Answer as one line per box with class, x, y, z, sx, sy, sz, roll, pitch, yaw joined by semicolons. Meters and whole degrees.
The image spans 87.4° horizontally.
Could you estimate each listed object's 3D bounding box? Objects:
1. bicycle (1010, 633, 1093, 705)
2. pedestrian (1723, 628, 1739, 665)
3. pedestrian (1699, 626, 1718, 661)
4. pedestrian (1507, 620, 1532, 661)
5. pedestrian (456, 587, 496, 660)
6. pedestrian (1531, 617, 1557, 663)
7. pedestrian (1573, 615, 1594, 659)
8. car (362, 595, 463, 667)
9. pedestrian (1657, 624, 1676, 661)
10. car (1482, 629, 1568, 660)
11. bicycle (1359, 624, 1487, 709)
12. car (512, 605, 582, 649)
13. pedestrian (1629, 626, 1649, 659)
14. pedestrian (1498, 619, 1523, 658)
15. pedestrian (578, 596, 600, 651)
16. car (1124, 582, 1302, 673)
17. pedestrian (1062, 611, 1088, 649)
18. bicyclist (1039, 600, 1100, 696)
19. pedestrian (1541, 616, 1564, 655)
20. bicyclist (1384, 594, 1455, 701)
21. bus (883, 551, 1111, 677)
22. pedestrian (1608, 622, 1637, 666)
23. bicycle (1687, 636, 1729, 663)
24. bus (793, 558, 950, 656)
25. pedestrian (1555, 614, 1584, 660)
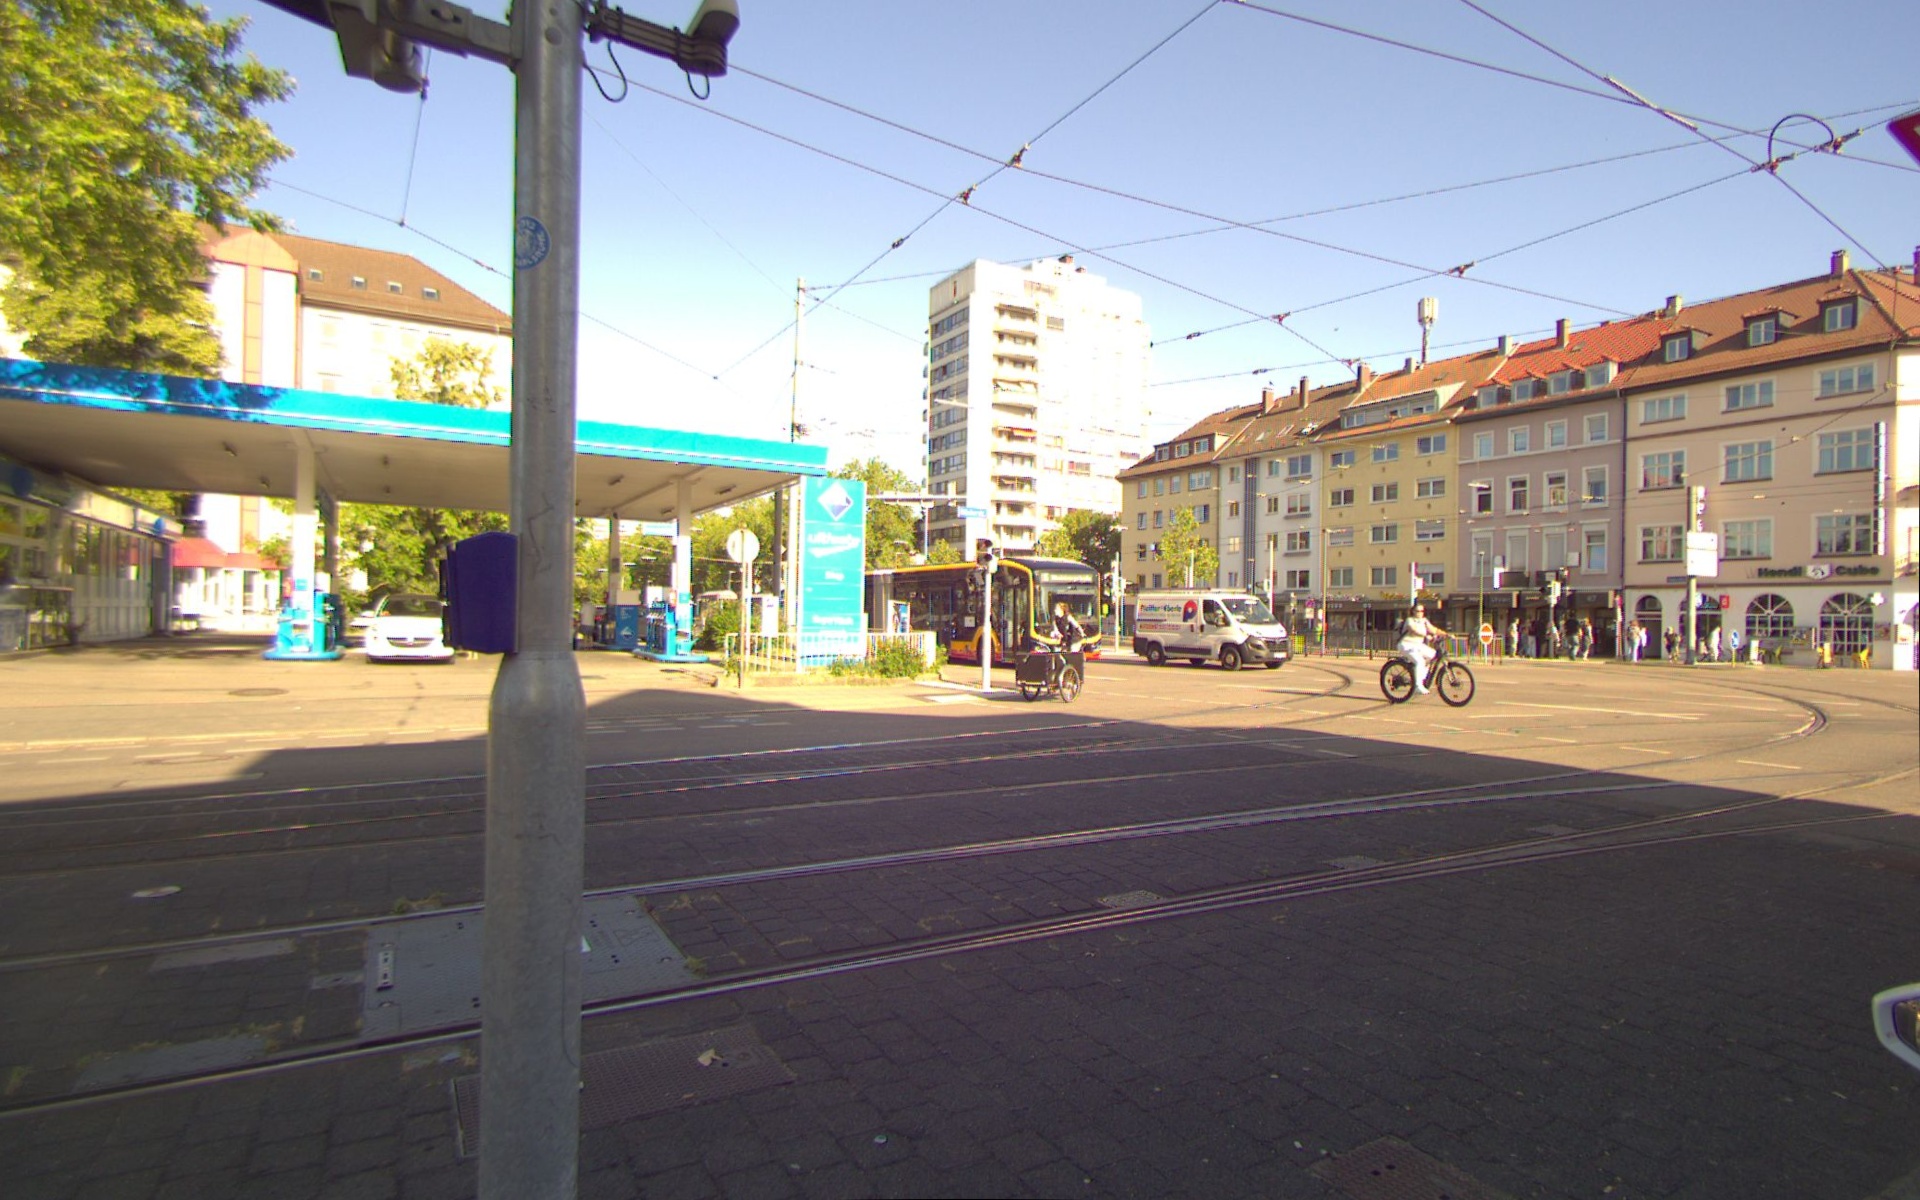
bicycle;1.661;1.173;17.710;1.039;1.116;2.521;1;-1;15
pedestrian;26.959;1.632;35.120;0.447;1.270;0.361;1;-1;-41
pedestrian;36.542;2.111;49.062;0.731;1.704;0.626;0;-1;35
pedestrian;23.497;1.693;42.184;0.565;1.657;0.737;1;-1;-30
pedestrian;-11.591;0.566;24.057;0.753;1.715;0.581;1;-1;-34
pedestrian;23.913;1.626;41.141;0.769;1.874;0.625;1;-1;-30
pedestrian;25.480;1.504;41.024;0.554;1.810;0.556;1;-1;-35
car;-12.352;0.667;22.552;1.793;1.461;3.966;1;-1;-31
pedestrian;33.904;2.028;48.178;0.731;1.704;0.626;0;-1;35
car;30.745;2.404;54.777;1.795;1.511;3.715;2;0;-27
bicycle;7.683;1.072;16.761;0.616;1.316;1.930;1;-1;-31
car;-13.574;0.854;32.873;1.697;1.360;3.970;1;-1;-28
pedestrian;35.666;2.223;52.751;0.623;1.704;0.734;1;-1;-41
pedestrian;24.184;1.683;44.150;0.621;1.704;0.763;1;-1;-30
pedestrian;-11.901;0.749;32.202;0.579;1.715;0.756;1;-1;-25
car;7.379;0.758;29.856;2.059;2.465;5.079;0;0;-34
pedestrian;5.009;1.307;43.776;0.788;1.632;0.766;1;-1;-36
bicyclist;2.001;0.849;18.238;0.916;1.659;1.028;1;0;16
pedestrian;24.967;1.495;42.331;0.554;1.602;0.694;1;-1;-35
bicyclist;7.684;0.784;16.808;0.725;1.737;0.794;1;-1;-31
bus;0.835;0.331;32.721;2.748;3.504;9.362;0;1;-31
pedestrian;26.383;1.735;40.001;0.621;1.704;0.737;1;-1;-30
bicycle;37.639;2.500;50.556;1.693;1.293;0.385;0;-1;44
bus;-3.795;0.212;40.391;2.756;3.504;8.568;0;1;-31
pedestrian;24.552;1.487;40.473;0.714;1.853;0.763;1;-1;-30
